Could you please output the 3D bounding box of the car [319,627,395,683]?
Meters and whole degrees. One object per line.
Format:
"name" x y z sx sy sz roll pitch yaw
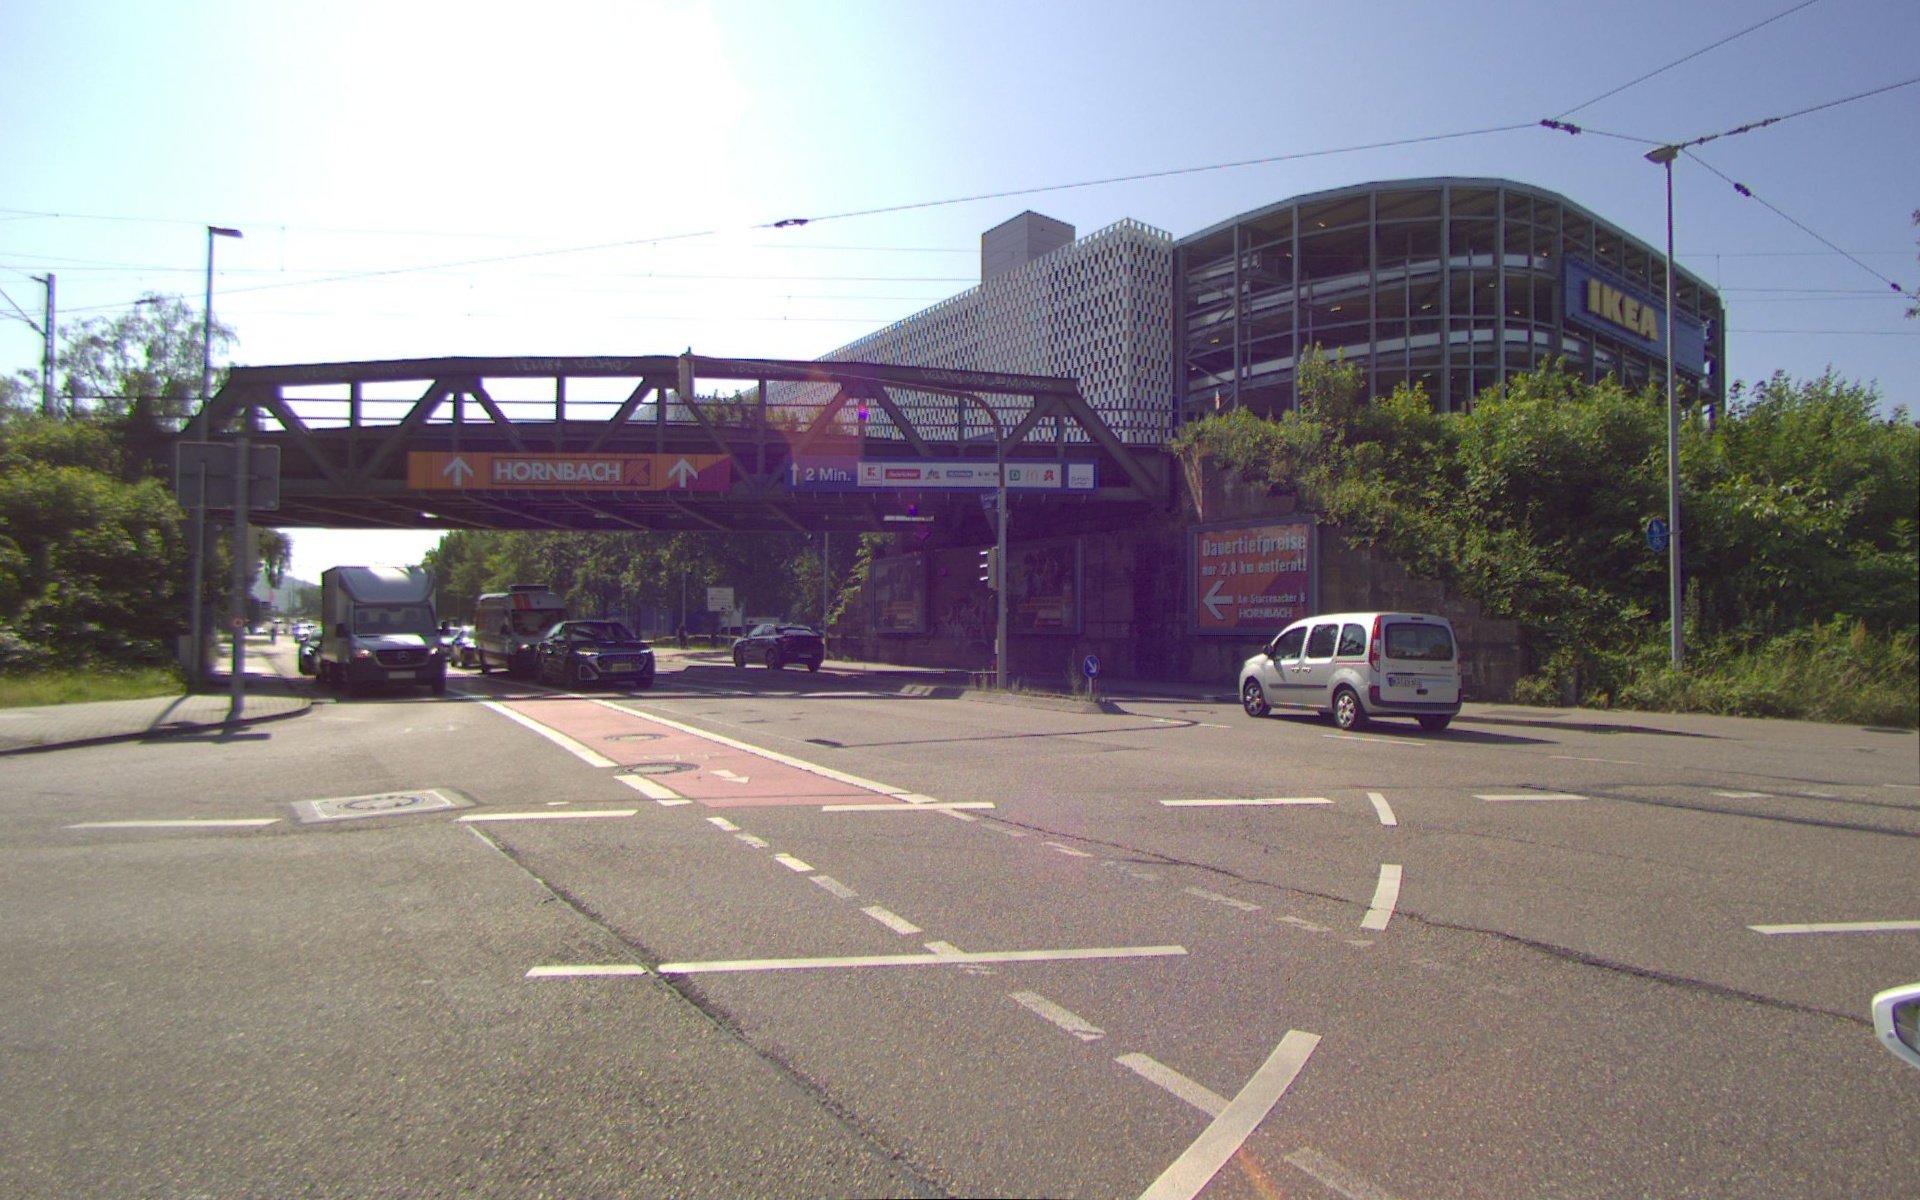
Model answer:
"car" -18.682 1.642 31.041 1.871 1.408 4.199 1 1 -33

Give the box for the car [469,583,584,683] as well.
"car" -13.909 1.027 31.962 2.153 2.850 6.140 1 -2 -35

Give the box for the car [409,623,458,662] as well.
"car" -23.450 1.844 44.705 1.579 1.473 3.963 1 1 -33

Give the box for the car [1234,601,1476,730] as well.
"car" 6.316 1.054 16.610 1.761 1.861 3.991 1 -3 -13

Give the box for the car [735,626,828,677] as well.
"car" -6.440 1.785 35.890 1.915 1.684 4.193 1 -2 -31

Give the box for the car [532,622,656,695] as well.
"car" -9.201 1.419 25.080 1.887 1.668 3.959 1 -2 -37

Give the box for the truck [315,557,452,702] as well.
"truck" -14.563 0.766 25.142 2.198 3.146 6.795 0 -2 -37

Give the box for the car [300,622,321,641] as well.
"car" -69.093 3.345 106.896 1.871 1.773 3.963 1 1 -33
